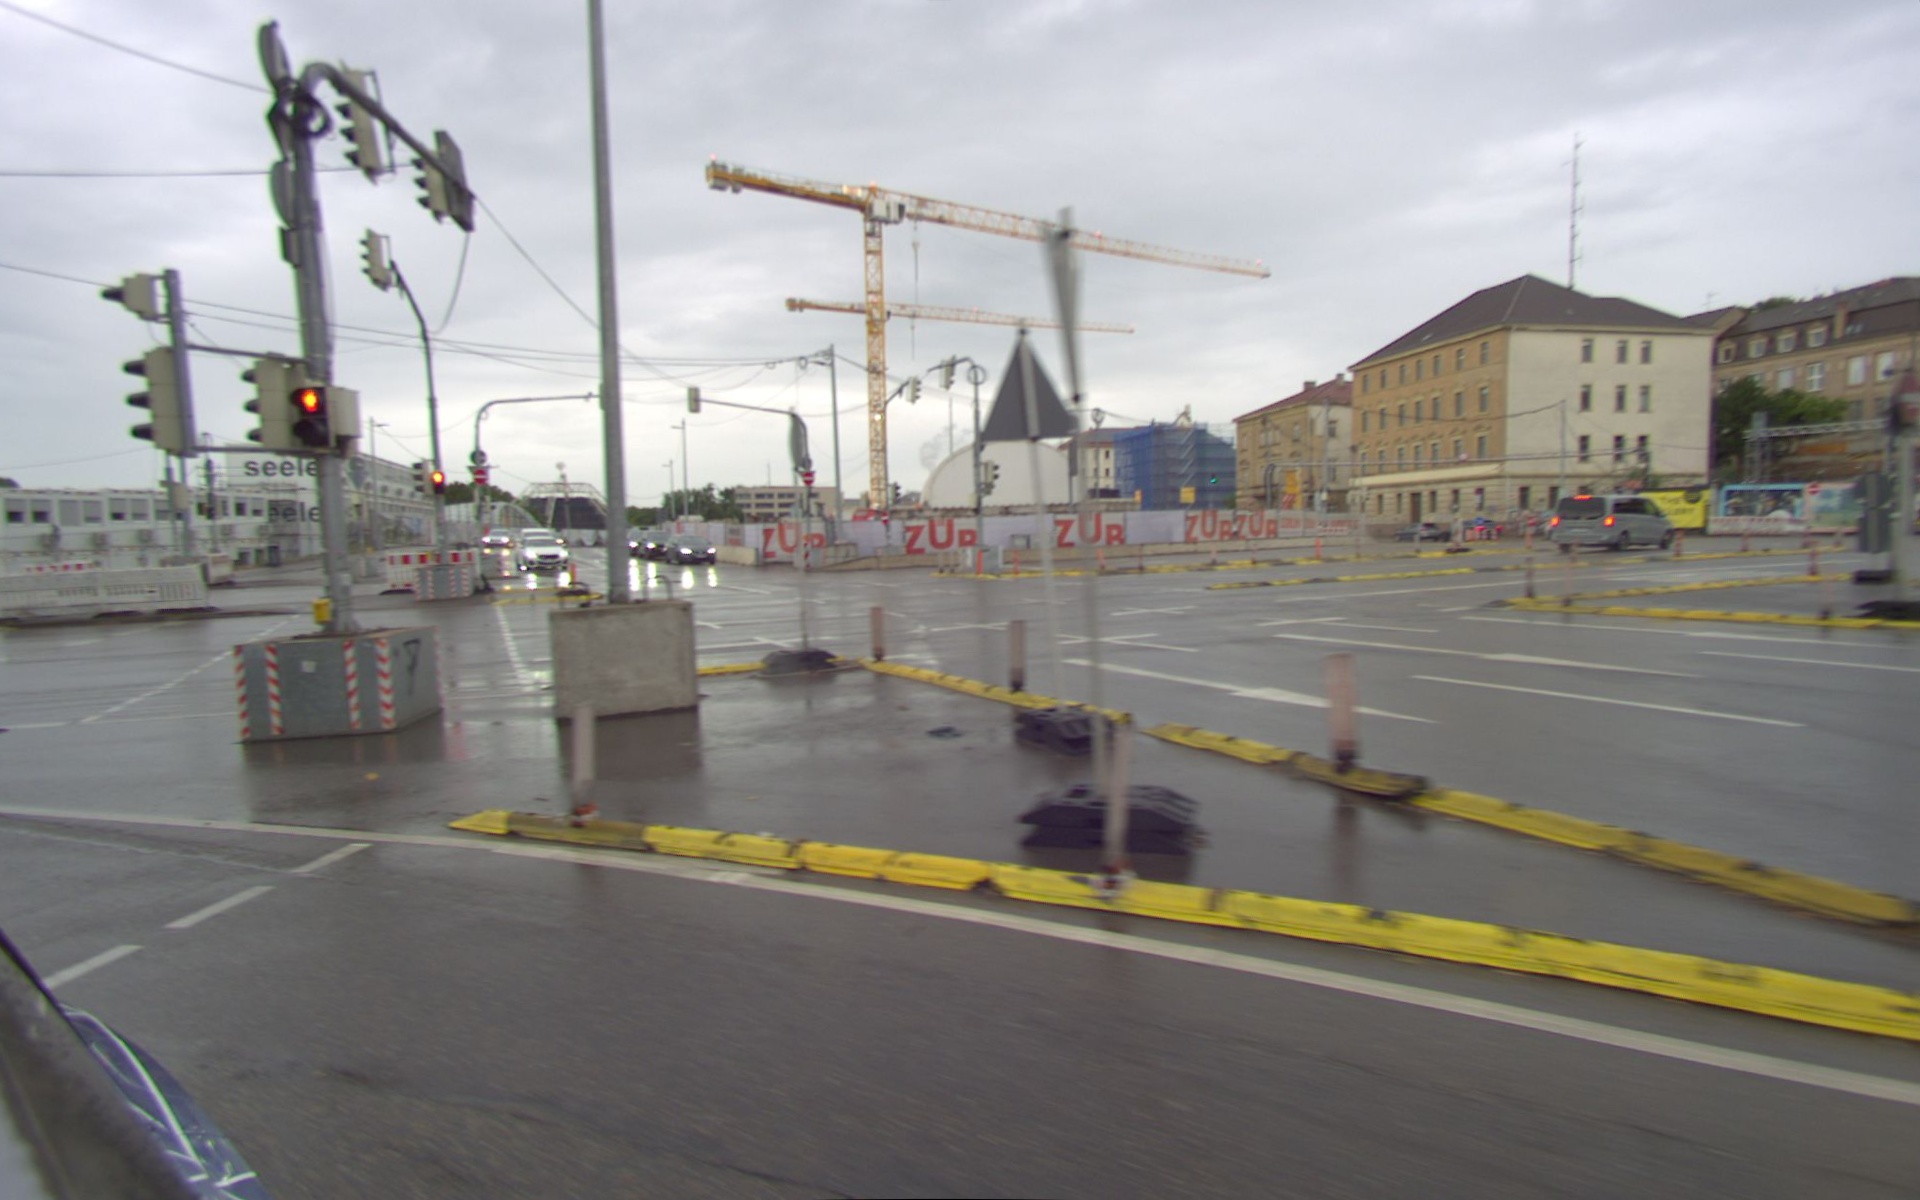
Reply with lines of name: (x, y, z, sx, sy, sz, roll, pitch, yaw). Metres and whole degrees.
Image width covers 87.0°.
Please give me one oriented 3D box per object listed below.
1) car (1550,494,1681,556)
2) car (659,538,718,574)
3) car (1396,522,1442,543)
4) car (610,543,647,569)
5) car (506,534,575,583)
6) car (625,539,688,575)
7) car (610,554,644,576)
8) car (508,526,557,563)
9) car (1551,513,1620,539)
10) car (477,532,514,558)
car: (21.884, -2.511, 33.754, 4.606, 1.852, 2.006, -5, 5, -34)
car: (-13.148, -2.139, 48.913, 1.830, 1.577, 3.814, -5, 5, -29)
car: (34.922, -5.160, 77.021, 1.625, 1.474, 3.423, -3, 6, -7)
car: (-21.935, -2.900, 66.843, 1.966, 1.568, 4.540, -4, 4, -22)
car: (-19.029, -1.861, 45.841, 1.967, 2.028, 4.436, -5, 4, -33)
car: (-16.177, -2.284, 53.806, 1.967, 1.730, 4.436, -5, 4, -33)
car: (-20.280, -2.138, 61.464, 1.622, 1.186, 4.304, -4, 4, -22)
car: (-23.045, -2.956, 54.426, 1.966, 1.784, 4.372, -5, 4, -27)
car: (36.754, -4.392, 59.558, 1.560, 1.356, 3.810, -3, 6, -2)
car: (-35.182, -4.168, 76.720, 1.966, 1.784, 4.372, -4, 4, -19)
